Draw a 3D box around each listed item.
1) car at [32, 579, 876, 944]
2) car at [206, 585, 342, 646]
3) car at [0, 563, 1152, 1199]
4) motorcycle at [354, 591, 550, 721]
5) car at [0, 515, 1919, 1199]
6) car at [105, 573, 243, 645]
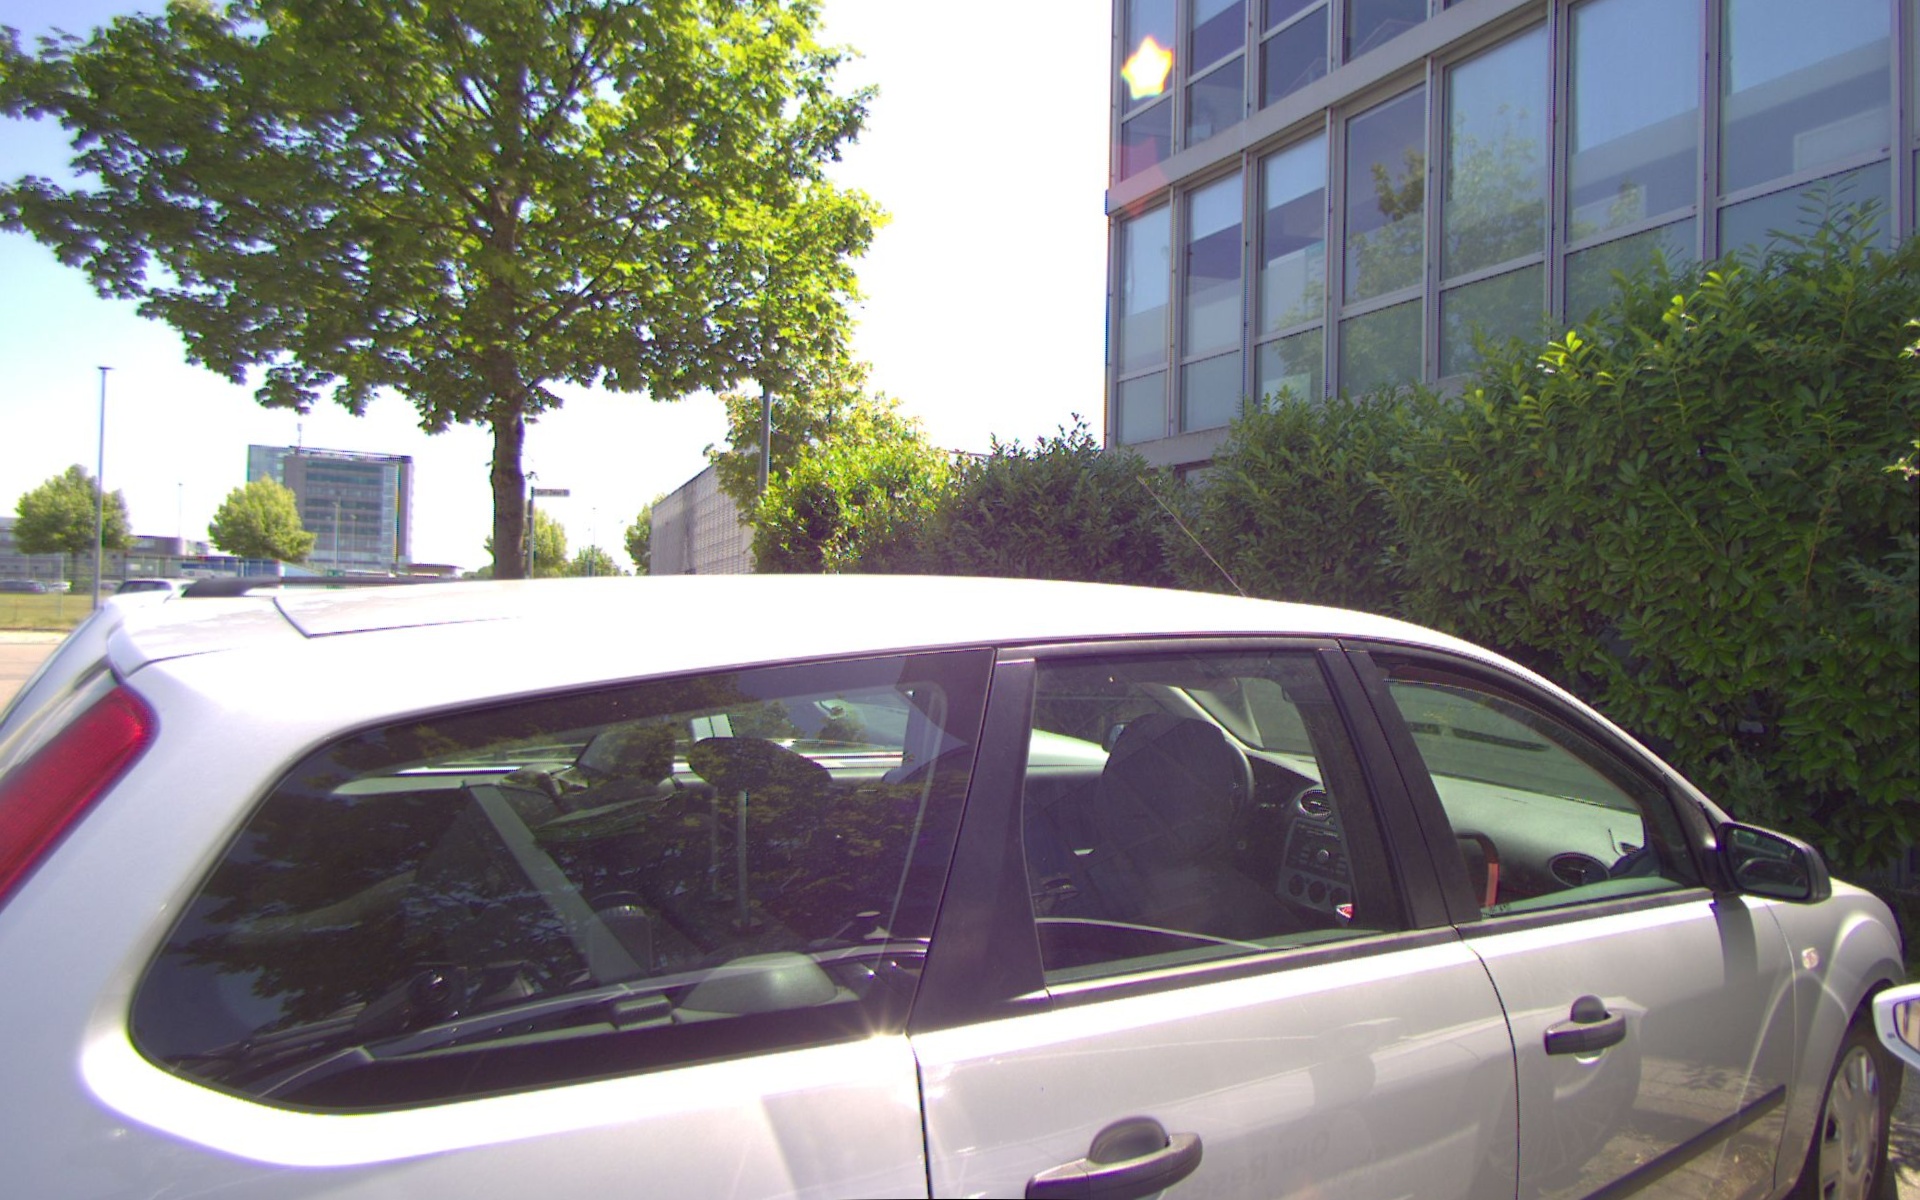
[{"bbox_3d":[-2.571,0.685,5.809,3.851,1.468,1.637,1,0,-34],"label":"car"},{"bbox_3d":[-18.714,0.395,27.612,1.624,1.542,3.991,1,0,-11],"label":"car"},{"bbox_3d":[-1.263,0.695,3.753,3.851,1.499,1.637,1,0,-34],"label":"car"},{"bbox_3d":[-5.836,0.619,11.607,1.969,1.408,0.480,1,0,-34],"label":"motorcycle"},{"bbox_3d":[0.388,0.730,2.137,4.299,1.499,1.710,1,0,-31],"label":"car"},{"bbox_3d":[-21.135,0.224,27.196,1.745,1.761,3.982,1,0,-20],"label":"car"}]
